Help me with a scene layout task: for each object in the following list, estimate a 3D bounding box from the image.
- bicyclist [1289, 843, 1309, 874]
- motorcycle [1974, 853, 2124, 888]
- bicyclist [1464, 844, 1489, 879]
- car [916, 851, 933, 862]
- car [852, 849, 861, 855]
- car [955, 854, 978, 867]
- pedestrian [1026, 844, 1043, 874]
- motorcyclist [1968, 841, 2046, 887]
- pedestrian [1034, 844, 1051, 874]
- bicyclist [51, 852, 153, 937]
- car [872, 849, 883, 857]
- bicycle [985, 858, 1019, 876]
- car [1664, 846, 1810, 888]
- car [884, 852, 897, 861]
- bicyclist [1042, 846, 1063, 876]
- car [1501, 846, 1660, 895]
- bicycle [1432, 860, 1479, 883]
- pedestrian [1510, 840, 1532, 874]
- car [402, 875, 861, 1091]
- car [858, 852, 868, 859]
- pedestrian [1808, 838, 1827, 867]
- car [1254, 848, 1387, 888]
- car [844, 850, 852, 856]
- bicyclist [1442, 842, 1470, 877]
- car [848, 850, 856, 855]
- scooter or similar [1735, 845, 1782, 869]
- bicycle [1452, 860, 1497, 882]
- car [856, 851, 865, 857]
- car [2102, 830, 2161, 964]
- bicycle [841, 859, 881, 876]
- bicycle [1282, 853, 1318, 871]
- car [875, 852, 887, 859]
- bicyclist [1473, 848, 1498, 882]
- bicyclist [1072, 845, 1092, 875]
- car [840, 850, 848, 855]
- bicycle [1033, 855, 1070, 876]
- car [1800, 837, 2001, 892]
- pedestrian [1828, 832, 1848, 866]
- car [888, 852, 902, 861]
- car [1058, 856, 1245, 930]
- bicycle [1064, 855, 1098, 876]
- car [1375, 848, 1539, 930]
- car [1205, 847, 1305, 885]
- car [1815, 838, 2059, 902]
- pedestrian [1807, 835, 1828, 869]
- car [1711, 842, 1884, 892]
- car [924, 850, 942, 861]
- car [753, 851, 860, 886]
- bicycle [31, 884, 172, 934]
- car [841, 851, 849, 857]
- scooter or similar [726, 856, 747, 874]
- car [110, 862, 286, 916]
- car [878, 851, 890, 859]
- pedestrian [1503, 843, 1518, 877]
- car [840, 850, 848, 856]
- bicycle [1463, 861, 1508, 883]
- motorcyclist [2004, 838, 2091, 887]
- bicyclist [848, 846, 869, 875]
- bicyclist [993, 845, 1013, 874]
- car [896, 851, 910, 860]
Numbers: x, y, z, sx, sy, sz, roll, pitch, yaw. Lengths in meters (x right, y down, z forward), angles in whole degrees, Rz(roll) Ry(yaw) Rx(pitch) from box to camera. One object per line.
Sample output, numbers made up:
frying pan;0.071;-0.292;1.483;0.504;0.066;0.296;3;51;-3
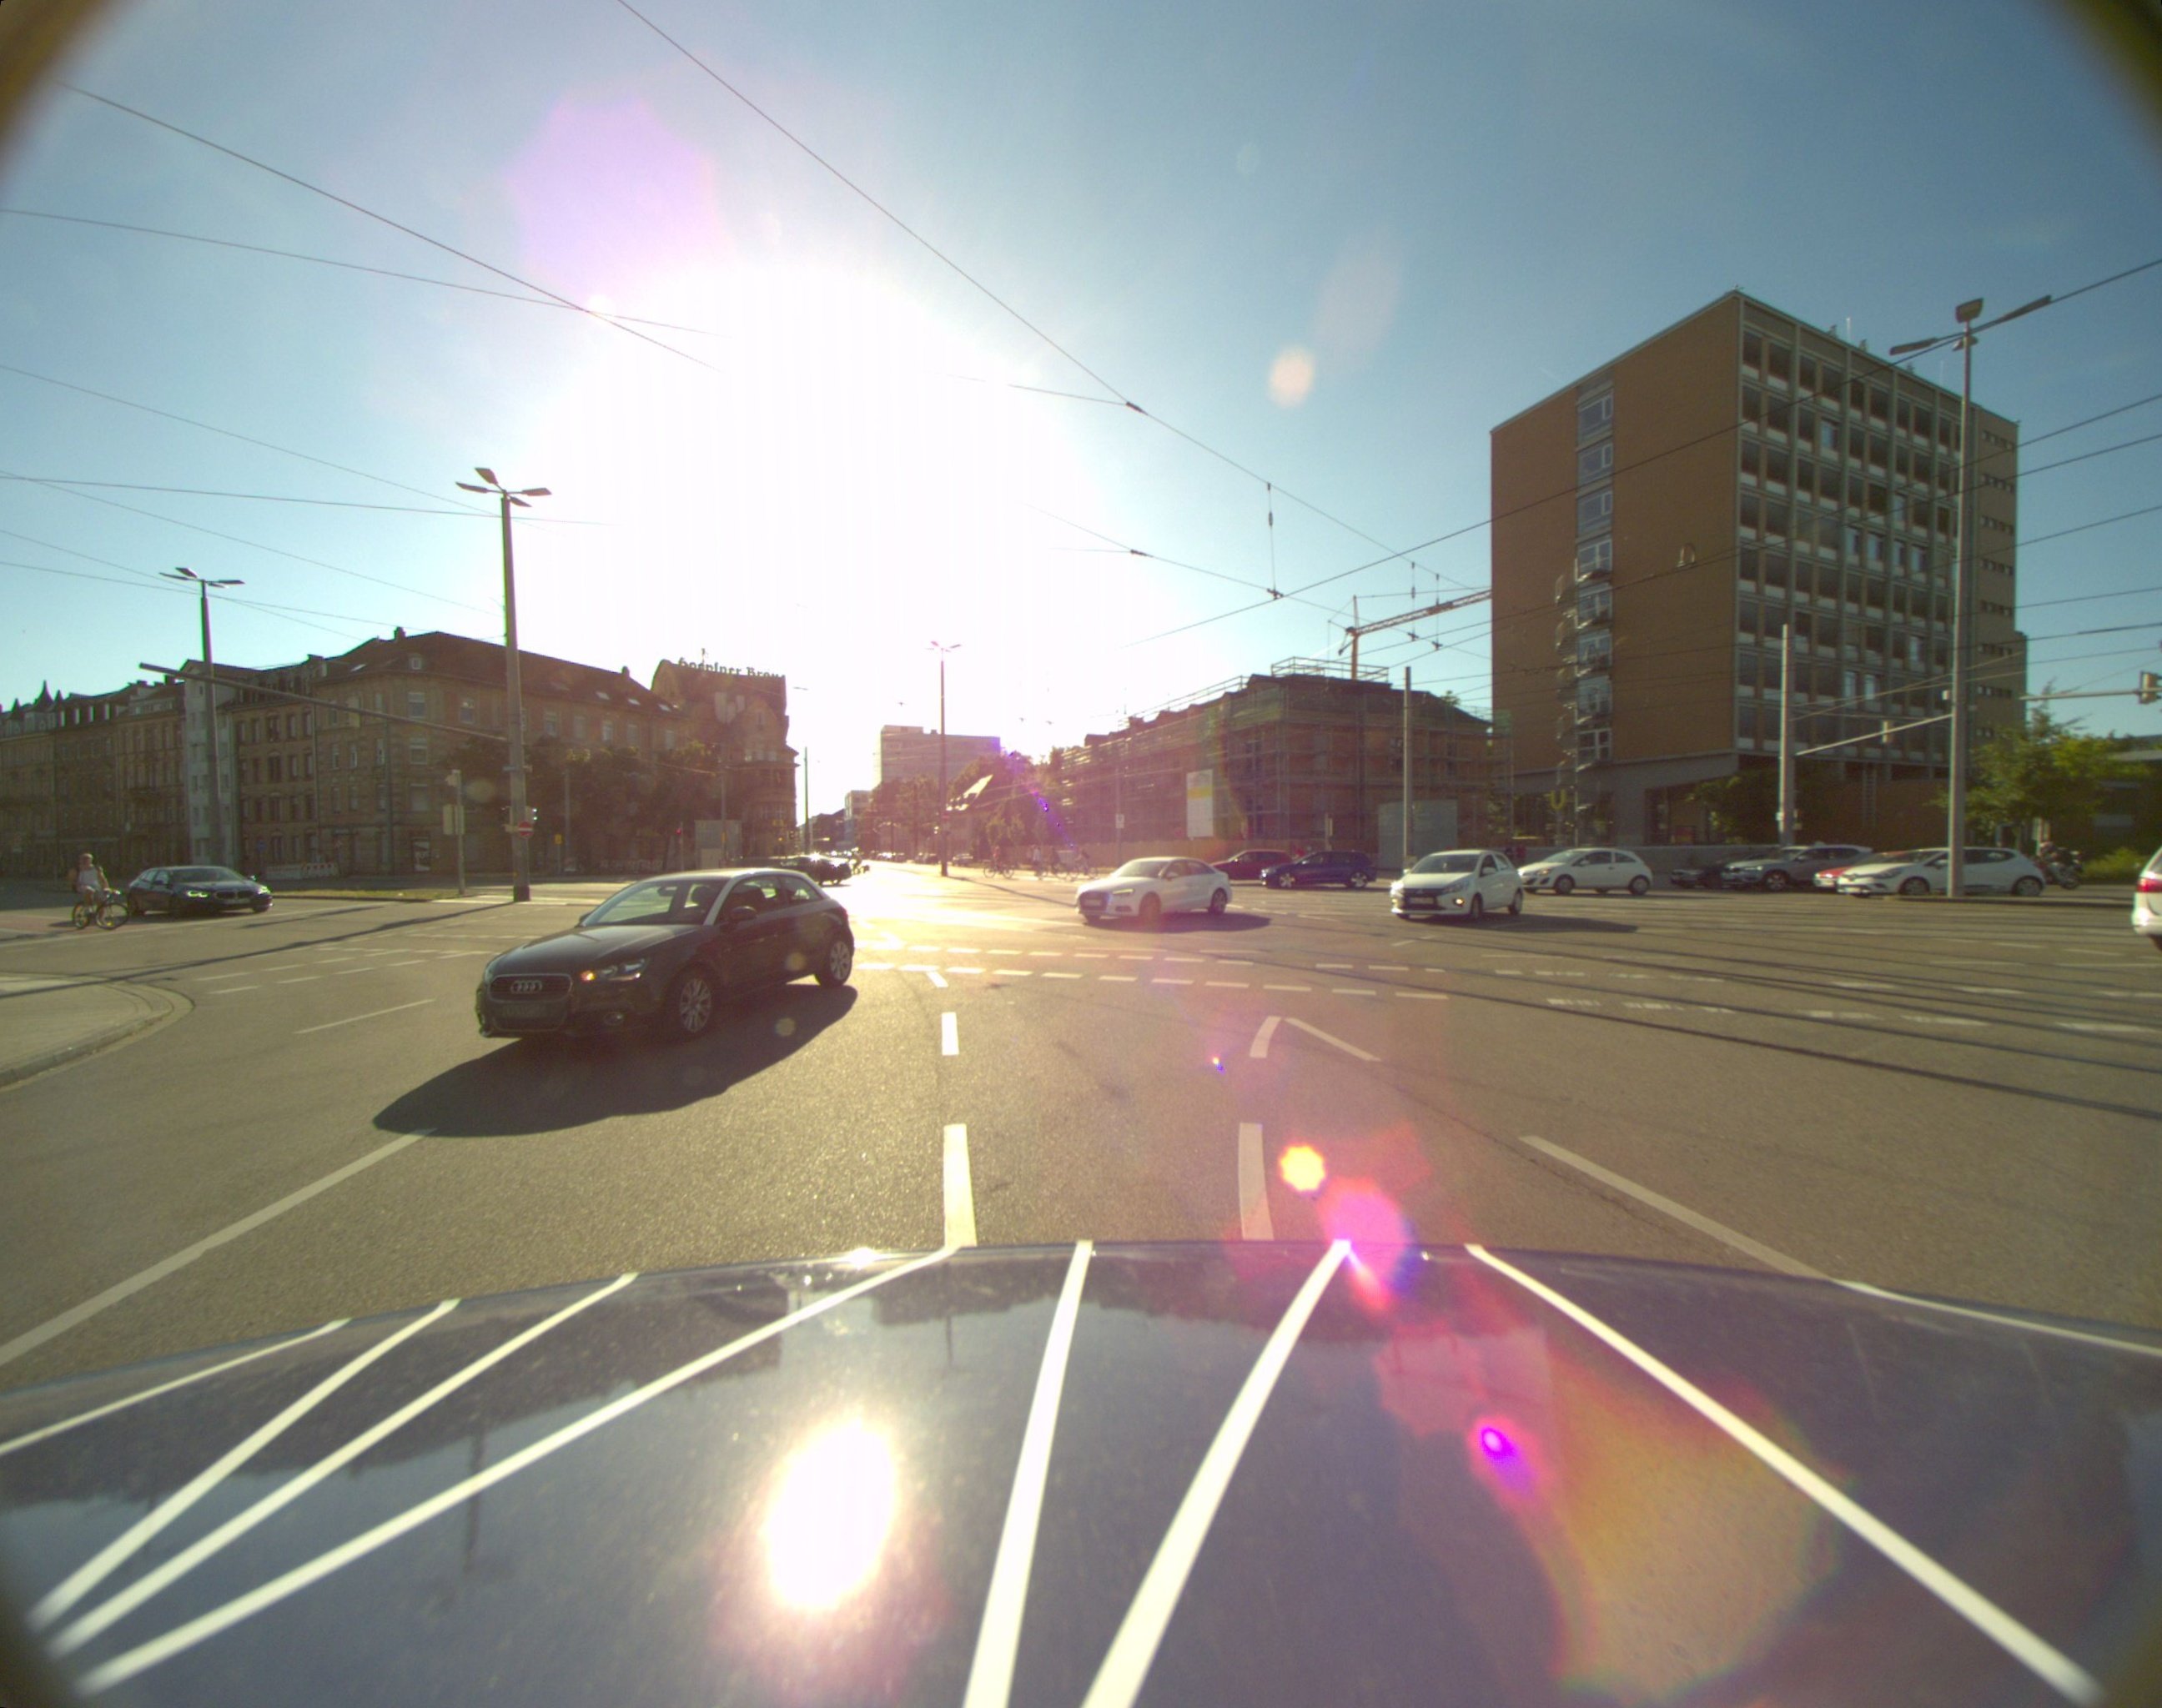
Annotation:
bicyclist;12.245;0.251;42.603;1.015;1.699;0.694;1;5;18
motorcycle;33.257;0.578;26.165;3.227;1.188;1.119;-1;-2;11
bicyclist;19.167;0.351;36.852;1.014;1.579;0.695;2;5;28
car;-23.816;0.372;115.218;1.758;1.455;4.012;-2;-1;-23
car;-57.139;-0.560;193.393;1.758;1.455;4.012;-2;-1;-23
car;-13.927;0.755;92.384;1.758;1.455;4.012;-2;-1;-23
pedestrian;-2.900;0.346;47.601;0.817;1.837;0.693;-1;-2;36
motorcyclist;34.802;0.390;28.576;1.452;1.657;1.119;-1;-2;11
pedestrian;-2.455;0.321;48.234;0.817;1.837;0.693;-1;-2;36
bicyclist;-24.324;0.984;18.903;1.142;2.003;1.034;0;3;10
car;-43.875;-0.249;163.484;1.758;1.455;4.012;-2;-1;-23
bicycle;-4.654;0.766;44.755;1.903;1.021;0.649;0;0;14
car;25.581;0.481;29.766;4.014;1.455;1.757;-2;1;7
car;-35.829;0.442;142.818;1.758;1.455;4.012;-2;-1;-23
bicyclist;-1.559;0.389;41.273;0.973;1.559;0.649;-1;-1;14
car;15.855;0.492;24.244;3.913;1.456;1.784;0;2;-2
bicycle;17.541;0.820;35.623;1.876;0.965;0.712;0;5;14
pedestrian;22.575;0.155;38.981;0.732;1.730;0.622;0;3;0
car;-3.883;0.981;7.442;1.693;1.380;3.835;-1;1;12
car;-52.283;0.408;182.481;1.758;1.596;4.012;-2;-1;-23
pedestrian;41.334;-0.069;42.634;0.504;1.625;0.573;0;-1;-3
car;9.128;0.540;29.292;4.648;1.483;1.819;0;0;7
car;-65.522;-0.225;213.714;1.758;1.455;4.012;-2;-1;-23
bicyclist;17.537;0.256;35.579;1.015;1.579;0.694;1;5;13
car;-62.918;-0.410;208.620;1.758;1.455;4.012;-2;-1;-23
scooter or similar;35.575;0.170;39.927;0.801;1.239;1.703;1;-2;-38
bicycle;19.113;0.801;36.924;1.875;0.965;0.713;2;5;28
car;-55.046;0.045;189.669;1.758;1.455;4.012;-2;-1;-23
car;16.205;0.543;9.679;4.464;1.724;1.940;-1;1;-9
bicycle;-12.717;0.781;43.944;2.103;1.021;0.768;0;0;3
bicycle;12.285;0.449;42.607;1.876;0.965;0.712;1;5;18
car;-40.776;0.326;154.760;1.758;1.455;4.012;-2;-1;-23
bicyclist;20.109;0.529;37.796;1.014;1.579;0.695;2;5;33
bicyclist;0.037;0.333;42.511;0.973;1.651;0.649;-1;-1;18
car;-71.359;-0.410;228.563;1.758;1.455;4.012;-2;-1;-23
bicycle;-1.612;0.649;41.282;1.899;1.116;0.649;-1;-2;14
car;25.821;0.357;24.081;3.995;1.673;2.001;0;-2;4
pedestrian;36.196;-0.228;36.344;0.504;1.625;0.427;0;-1;-3
car;-33.818;0.498;138.120;1.758;1.455;4.012;-2;-1;-23
car;1.740;0.803;17.601;4.466;1.380;1.821;-2;1;-44
bicycle;-0.010;0.647;42.513;1.772;1.116;0.649;-1;-2;18
car;8.289;0.669;16.651;3.877;1.484;1.717;-2;3;-38
car;7.435;0.534;32.797;4.014;1.455;1.758;-2;-1;7
car;23.802;0.424;21.299;4.277;1.666;2.001;-1;1;7
pedestrian;37.180;-0.102;38.372;0.623;1.701;0.487;-1;-1;24
car;25.184;0.442;26.872;3.994;1.597;2.001;-1;2;11
car;-21.360;0.199;109.835;1.758;1.455;4.012;-2;-1;-23
car;-13.298;0.688;36.880;4.645;1.484;1.819;-2;1;15
bicycle;-24.340;1.351;18.904;2.527;1.117;1.034;-1;3;10
car;-67.993;-0.037;219.194;1.758;1.455;4.012;-2;-1;-23
scooter or similar;-22.917;0.747;50.592;1.441;1.194;0.732;0;0;41
car;-26.079;0.983;22.467;3.991;1.445;2.003;0;1;19
car;-38.925;0.173;150.218;1.758;1.455;4.012;-2;-1;-23
pedestrian;21.955;0.298;38.845;0.620;1.730;0.667;1;3;32
car;-69.810;-0.312;223.532;1.758;1.455;4.012;-2;-1;-23
bicycle;20.120;0.867;37.817;1.874;0.965;0.713;2;5;32
motorcyclist;33.236;0.310;26.164;1.452;1.657;1.119;-1;-2;11
bicyclist;-12.841;0.359;43.945;0.974;1.685;0.768;0;0;2
bicyclist;-4.593;0.316;44.739;0.973;1.685;0.649;0;0;14
car;-31.194;0.329;133.115;1.758;1.455;4.012;-2;-1;-23
